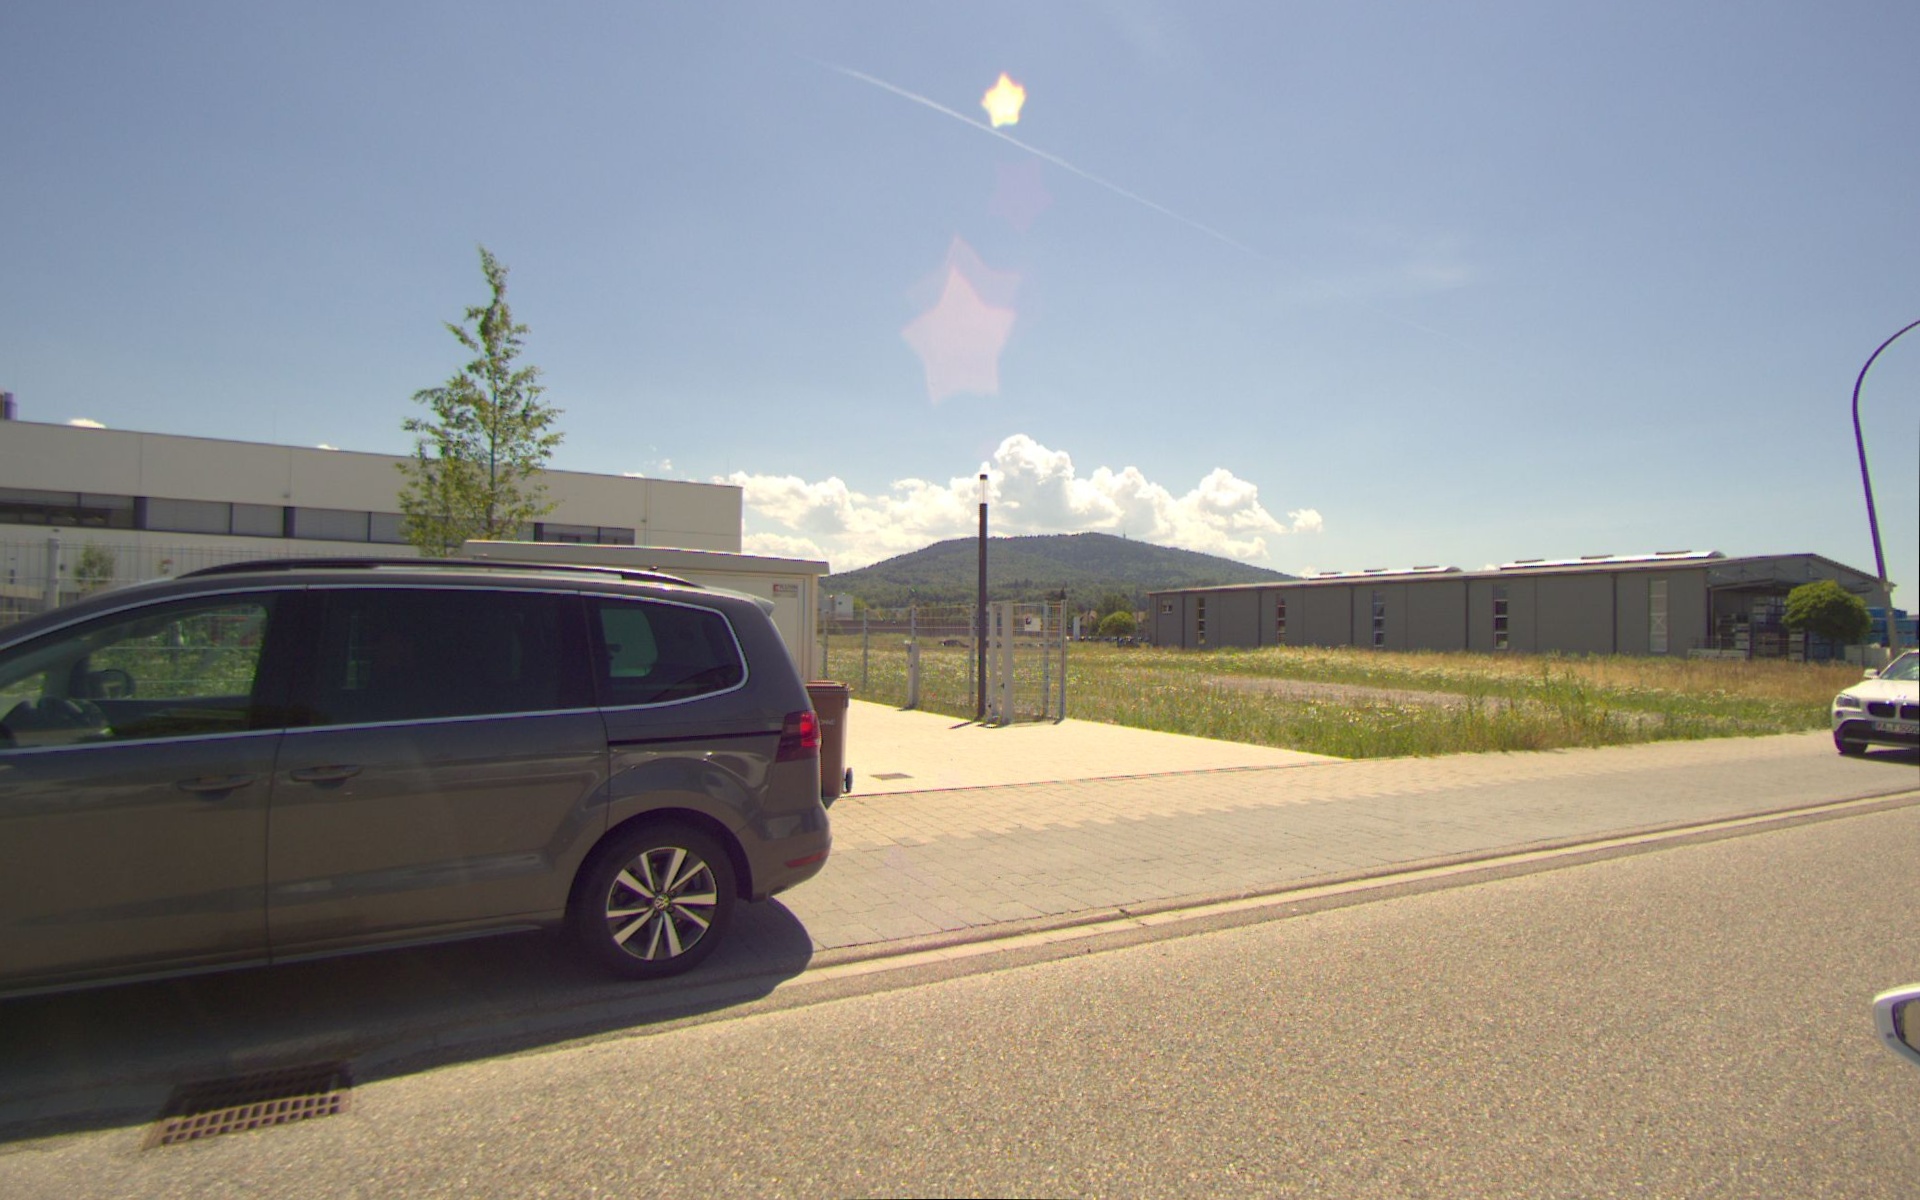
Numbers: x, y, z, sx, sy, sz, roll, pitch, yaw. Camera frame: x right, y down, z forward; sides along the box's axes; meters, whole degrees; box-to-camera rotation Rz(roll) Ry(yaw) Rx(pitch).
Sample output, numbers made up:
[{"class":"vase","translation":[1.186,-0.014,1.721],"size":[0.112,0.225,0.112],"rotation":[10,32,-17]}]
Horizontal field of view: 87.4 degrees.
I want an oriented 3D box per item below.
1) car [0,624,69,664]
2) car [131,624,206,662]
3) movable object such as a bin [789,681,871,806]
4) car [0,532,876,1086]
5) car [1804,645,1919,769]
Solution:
[{"class":"car","translation":[-38.978,1.831,42.189],"size":[1.904,1.606,3.960],"rotation":[2,-3,-36]},{"class":"car","translation":[-34.512,1.881,43.921],"size":[1.899,1.606,3.970],"rotation":[2,-3,-29]},{"class":"movable object such as a bin","translation":[-1.089,1.189,8.473],"size":[0.506,0.958,0.604],"rotation":[1,-1,11]},{"class":"car","translation":[-2.819,0.683,4.311],"size":[4.567,1.742,1.794],"rotation":[2,-1,-30]},{"class":"car","translation":[14.099,1.468,14.276],"size":[4.310,1.562,1.780],"rotation":[2,-2,-28]}]
